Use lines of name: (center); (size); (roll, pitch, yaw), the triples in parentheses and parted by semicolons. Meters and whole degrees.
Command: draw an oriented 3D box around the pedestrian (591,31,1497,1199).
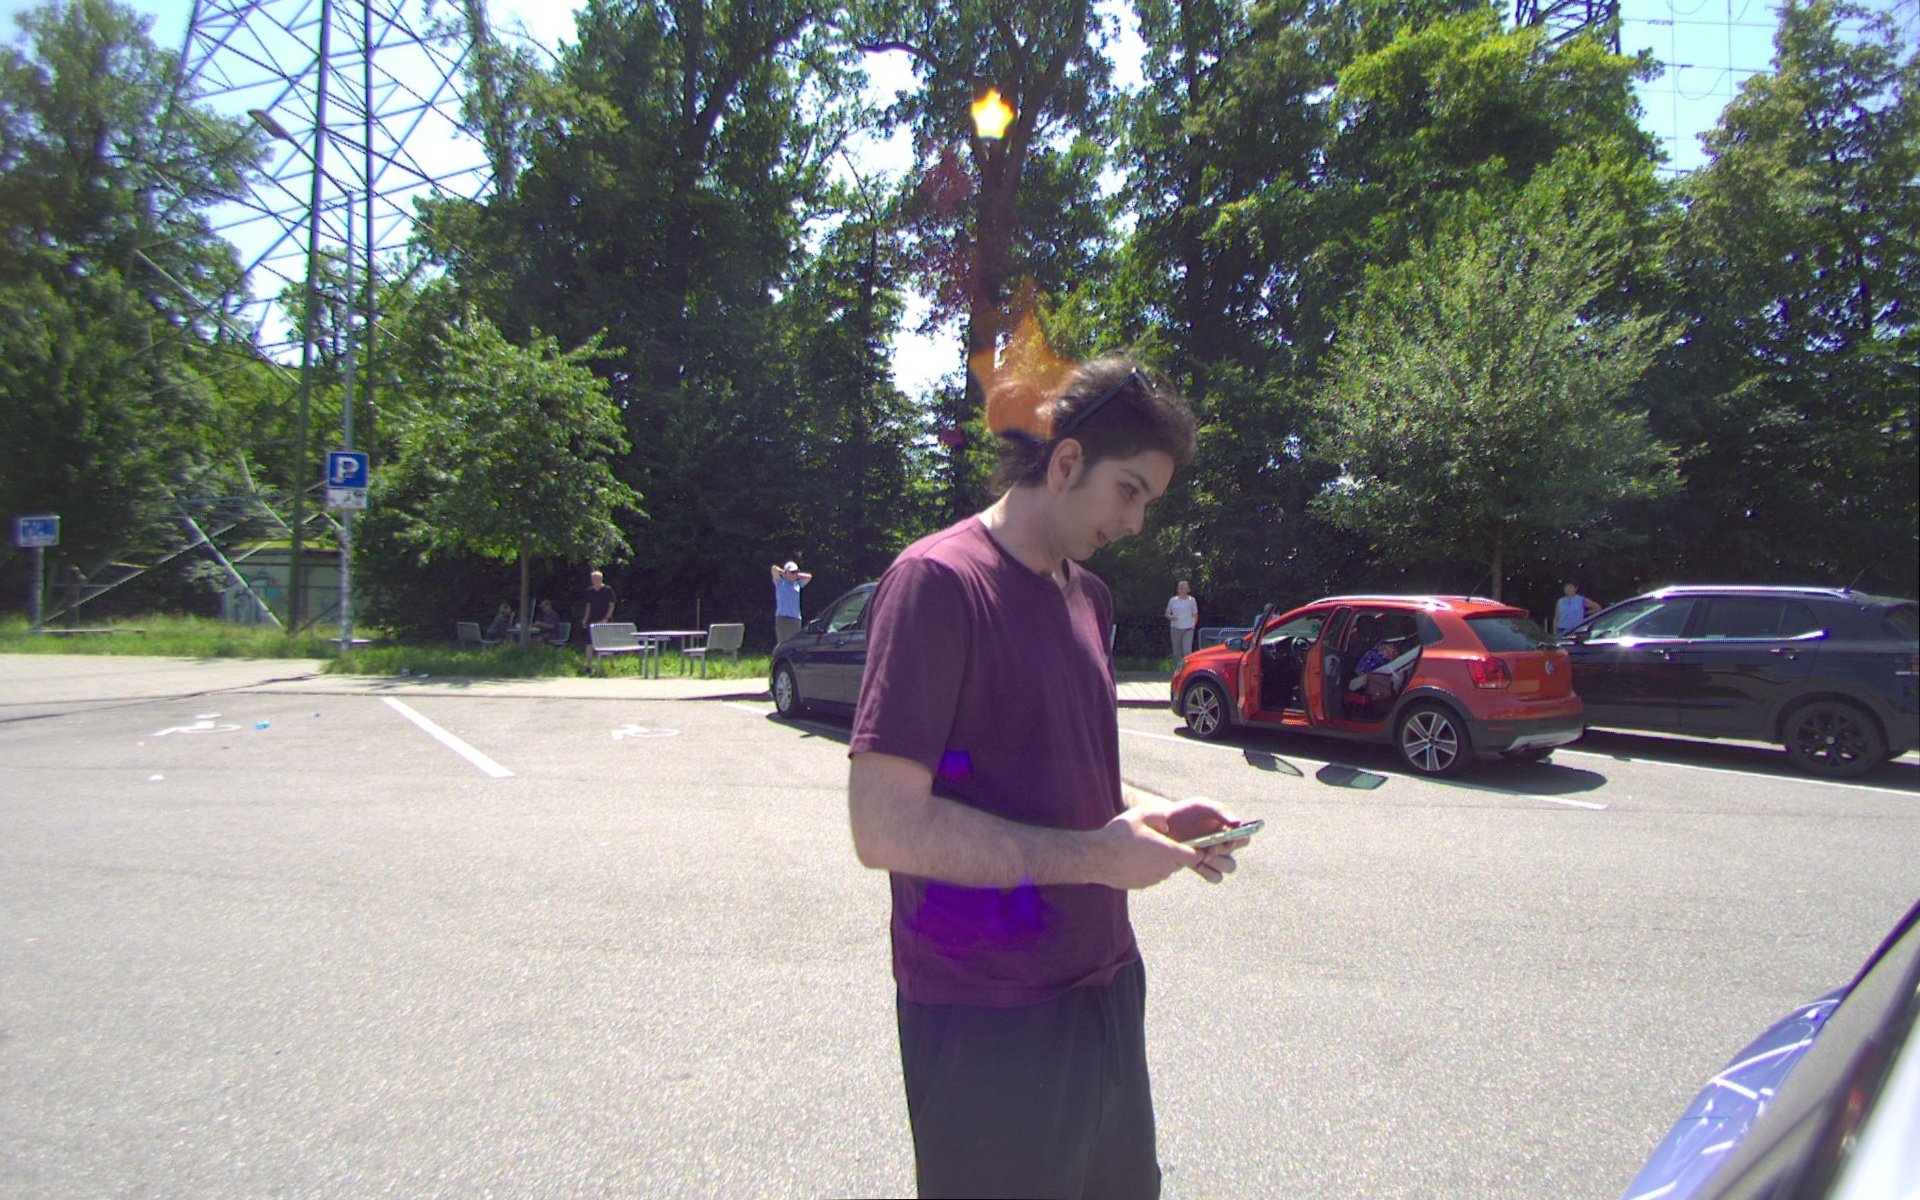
pedestrian: (0.131, 0.472, 1.376); (0.828, 1.797, 0.926); (0, -1, 45)

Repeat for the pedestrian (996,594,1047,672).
pedestrian: (1.035, 0.545, 17.102); (0.656, 1.285, 0.655); (1, -1, -17)

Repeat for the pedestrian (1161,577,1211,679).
pedestrian: (3.700, 0.444, 16.544); (0.764, 1.614, 0.806); (0, -1, 15)

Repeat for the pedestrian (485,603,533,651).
pedestrian: (-10.262, 0.608, 23.009); (0.796, 1.062, 0.714); (1, -1, -43)

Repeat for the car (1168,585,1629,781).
car: (3.949, 0.624, 9.667); (1.746, 1.475, 3.710); (1, 0, -33)

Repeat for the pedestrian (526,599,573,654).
pedestrian: (-9.597, 0.612, 23.642); (0.796, 1.253, 0.713); (1, -1, -44)

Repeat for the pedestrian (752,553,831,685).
pedestrian: (-2.383, 0.258, 14.283); (0.786, 1.784, 0.809); (1, -1, -39)

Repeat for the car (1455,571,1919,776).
car: (7.230, 0.578, 9.853); (1.807, 1.612, 3.967); (1, 0, -38)

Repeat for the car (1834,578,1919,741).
car: (10.951, 0.602, 9.401); (1.745, 1.612, 3.972); (1, 0, -32)

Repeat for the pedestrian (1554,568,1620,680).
pedestrian: (9.406, 0.344, 15.184); (0.712, 1.614, 0.797); (0, -1, 42)

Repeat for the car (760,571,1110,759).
car: (-0.462, 0.547, 10.716); (1.809, 1.588, 4.017); (1, 0, -35)

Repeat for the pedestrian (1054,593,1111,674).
pedestrian: (2.036, 0.543, 16.926); (0.656, 1.311, 0.832); (1, -1, -17)

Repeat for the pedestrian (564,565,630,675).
pedestrian: (-6.255, 0.331, 17.490); (0.704, 1.851, 0.902); (1, -1, 10)
